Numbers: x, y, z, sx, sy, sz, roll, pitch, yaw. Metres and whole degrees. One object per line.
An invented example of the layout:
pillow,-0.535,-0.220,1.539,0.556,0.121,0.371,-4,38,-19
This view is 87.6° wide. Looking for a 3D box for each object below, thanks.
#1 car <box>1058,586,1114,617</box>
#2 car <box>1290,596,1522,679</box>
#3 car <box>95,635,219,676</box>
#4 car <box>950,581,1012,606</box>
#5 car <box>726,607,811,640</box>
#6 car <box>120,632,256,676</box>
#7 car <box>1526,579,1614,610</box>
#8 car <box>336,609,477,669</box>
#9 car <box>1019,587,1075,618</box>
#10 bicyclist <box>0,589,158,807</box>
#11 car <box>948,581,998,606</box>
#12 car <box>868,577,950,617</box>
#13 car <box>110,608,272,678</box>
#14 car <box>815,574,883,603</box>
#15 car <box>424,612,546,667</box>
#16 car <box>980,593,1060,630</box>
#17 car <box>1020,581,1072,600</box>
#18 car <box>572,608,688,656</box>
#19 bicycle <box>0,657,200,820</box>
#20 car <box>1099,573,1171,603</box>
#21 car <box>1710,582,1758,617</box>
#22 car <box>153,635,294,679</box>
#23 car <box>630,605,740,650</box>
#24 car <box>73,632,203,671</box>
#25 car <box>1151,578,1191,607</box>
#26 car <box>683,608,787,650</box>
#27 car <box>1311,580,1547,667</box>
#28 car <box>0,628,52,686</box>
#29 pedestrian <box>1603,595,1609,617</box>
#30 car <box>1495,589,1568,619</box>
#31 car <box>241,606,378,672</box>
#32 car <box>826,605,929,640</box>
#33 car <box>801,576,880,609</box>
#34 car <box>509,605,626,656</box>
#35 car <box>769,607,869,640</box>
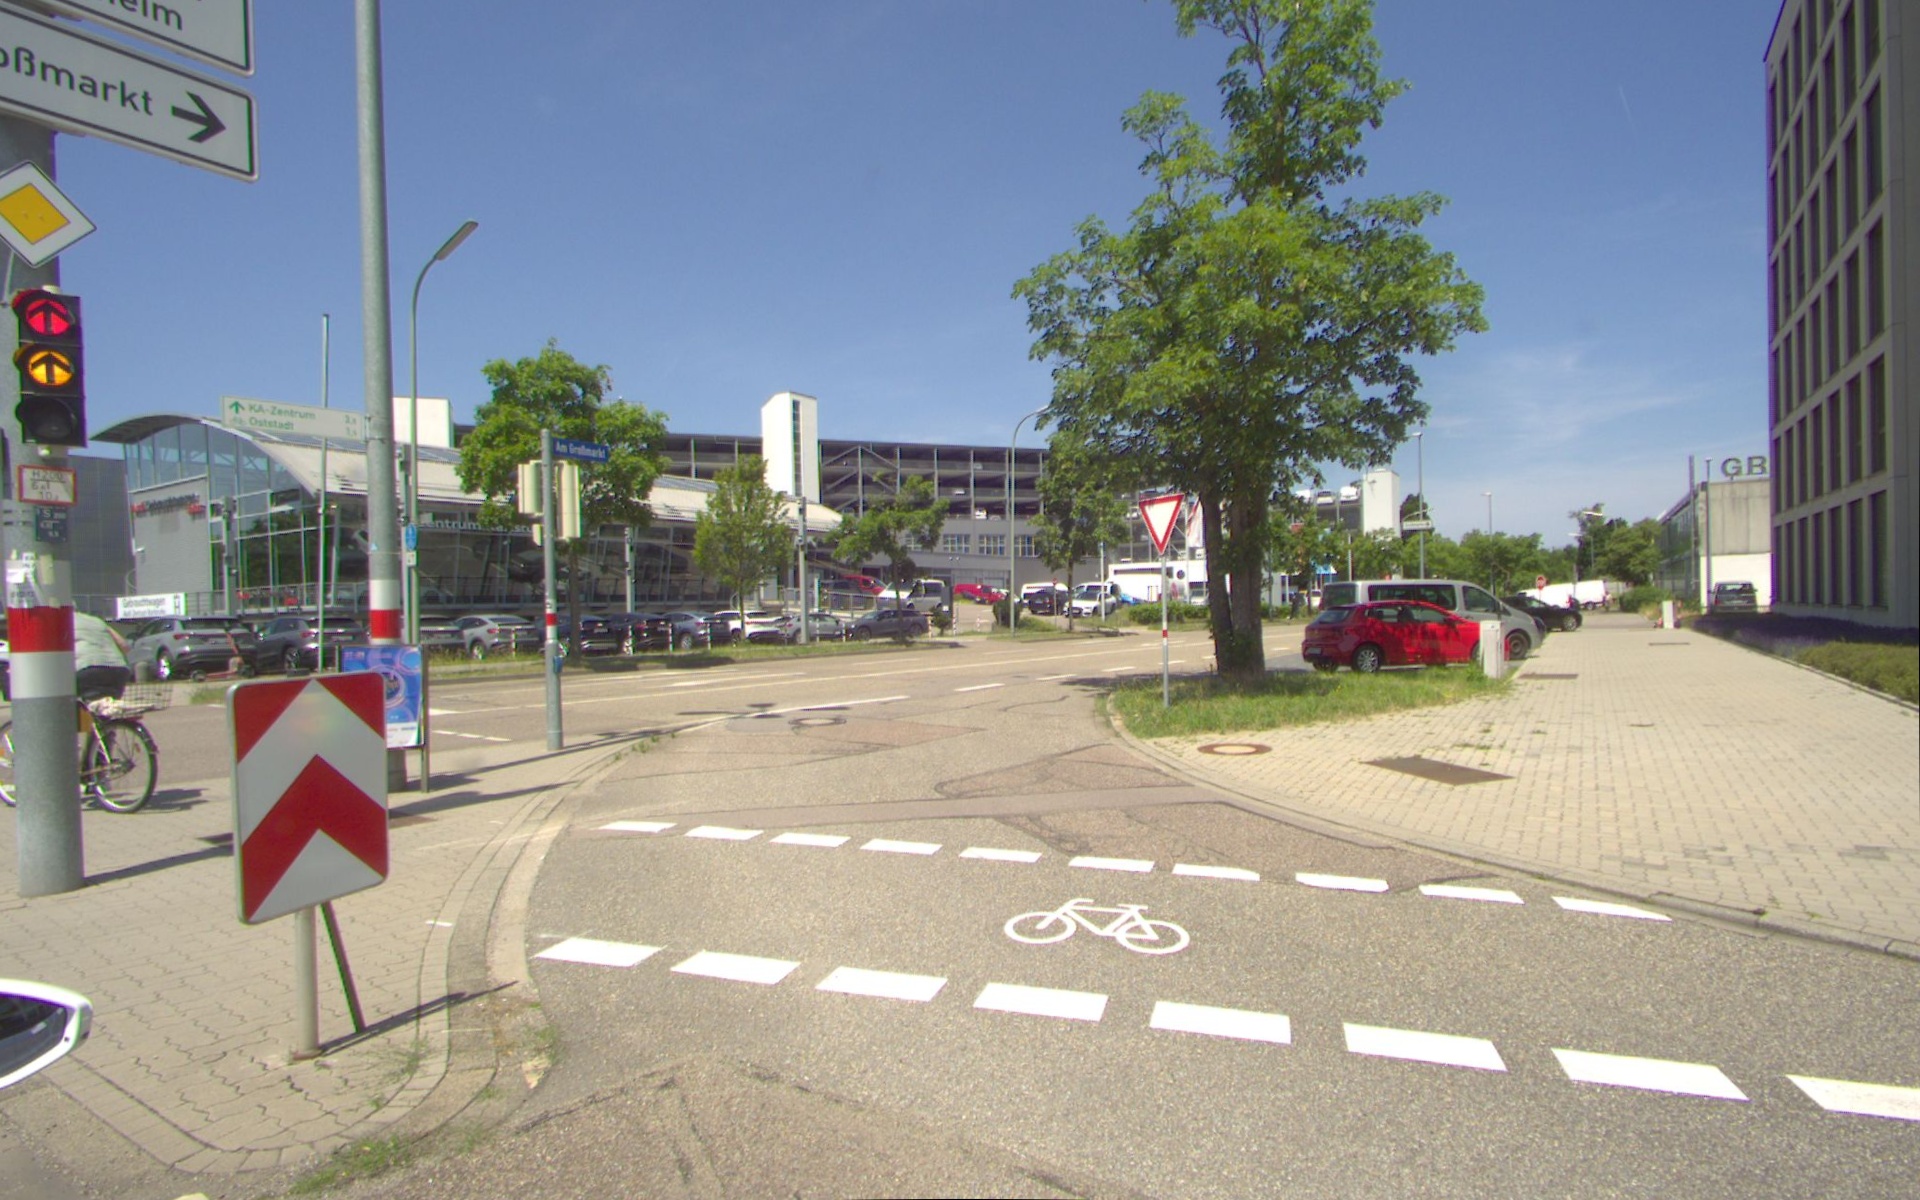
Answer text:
car,7.615,0.141,60.145,1.970,1.727,3.983,-1,-2,30
car,8.928,0.729,20.195,3.923,1.451,1.699,-2,-1,-7
car,-32.865,2.257,41.076,1.619,1.600,3.642,-1,-3,32
car,1.652,-0.486,78.024,4.525,1.821,1.903,-1,0,34
car,-9.891,1.200,51.702,3.938,1.591,1.842,-1,0,-28
car,-30.553,2.133,39.735,1.633,1.642,3.980,-1,-3,32
car,54.947,-0.464,90.264,6.606,2.552,2.206,-2,-2,35
car,-16.559,1.176,29.963,3.937,1.675,1.844,-1,-3,28
car,5.349,0.184,61.192,1.970,1.727,3.983,-1,-2,30
bicyclist,-6.960,0.749,7.897,0.810,1.626,0.629,0,-1,15
car,0.986,-0.441,74.540,1.859,1.728,3.977,-1,-1,33
car,-2.674,-0.156,53.977,1.885,1.992,5.228,-1,0,29
car,-19.515,1.113,25.370,4.442,1.578,1.863,-3,0,33
car,-7.328,-0.729,66.124,4.082,1.745,1.907,-1,0,25
car,-15.121,1.206,31.852,3.758,1.637,1.635,0,0,28
car,3.058,0.555,50.215,1.888,1.717,4.560,-1,0,35
car,7.912,-0.849,92.221,4.294,1.674,1.904,-1,0,31
car,-12.068,1.198,36.586,3.937,1.675,1.844,-1,-3,28
bicycle,-7.031,1.050,7.920,1.860,1.148,0.629,0,0,16
car,12.007,-0.776,68.870,4.521,1.912,1.904,-1,0,31
car,42.247,0.017,54.713,1.772,1.750,3.978,-1,-2,34
car,-28.340,2.174,38.640,1.824,1.618,3.980,-1,-3,32
car,-10.687,1.119,38.905,3.937,1.675,1.844,-1,-3,28
car,-35.125,2.196,42.880,1.610,1.593,3.977,-1,-3,32
car,16.374,-0.549,77.580,1.812,2.039,3.981,-1,-2,31
car,-9.260,1.218,41.161,3.937,1.675,1.844,-1,-3,28
car,10.902,0.514,23.385,4.841,1.911,1.918,0,0,-12
car,-25.155,1.378,24.112,1.843,1.407,4.583,-2,-3,34
pedestrian,47.860,0.436,74.179,0.399,1.580,0.546,-1,1,33
car,41.493,0.307,72.701,4.513,2.039,1.990,-1,-2,33
car,-17.911,1.088,27.522,3.946,1.675,1.840,-2,-3,35
car,-3.895,1.039,47.612,4.554,1.491,1.839,-2,1,-34
car,-6.721,-0.422,56.674,1.888,1.730,4.560,-1,0,35
car,-13.430,1.050,34.249,3.851,1.676,1.627,-1,-1,28
car,-6.961,1.160,49.512,4.527,1.491,1.902,-1,0,-34
